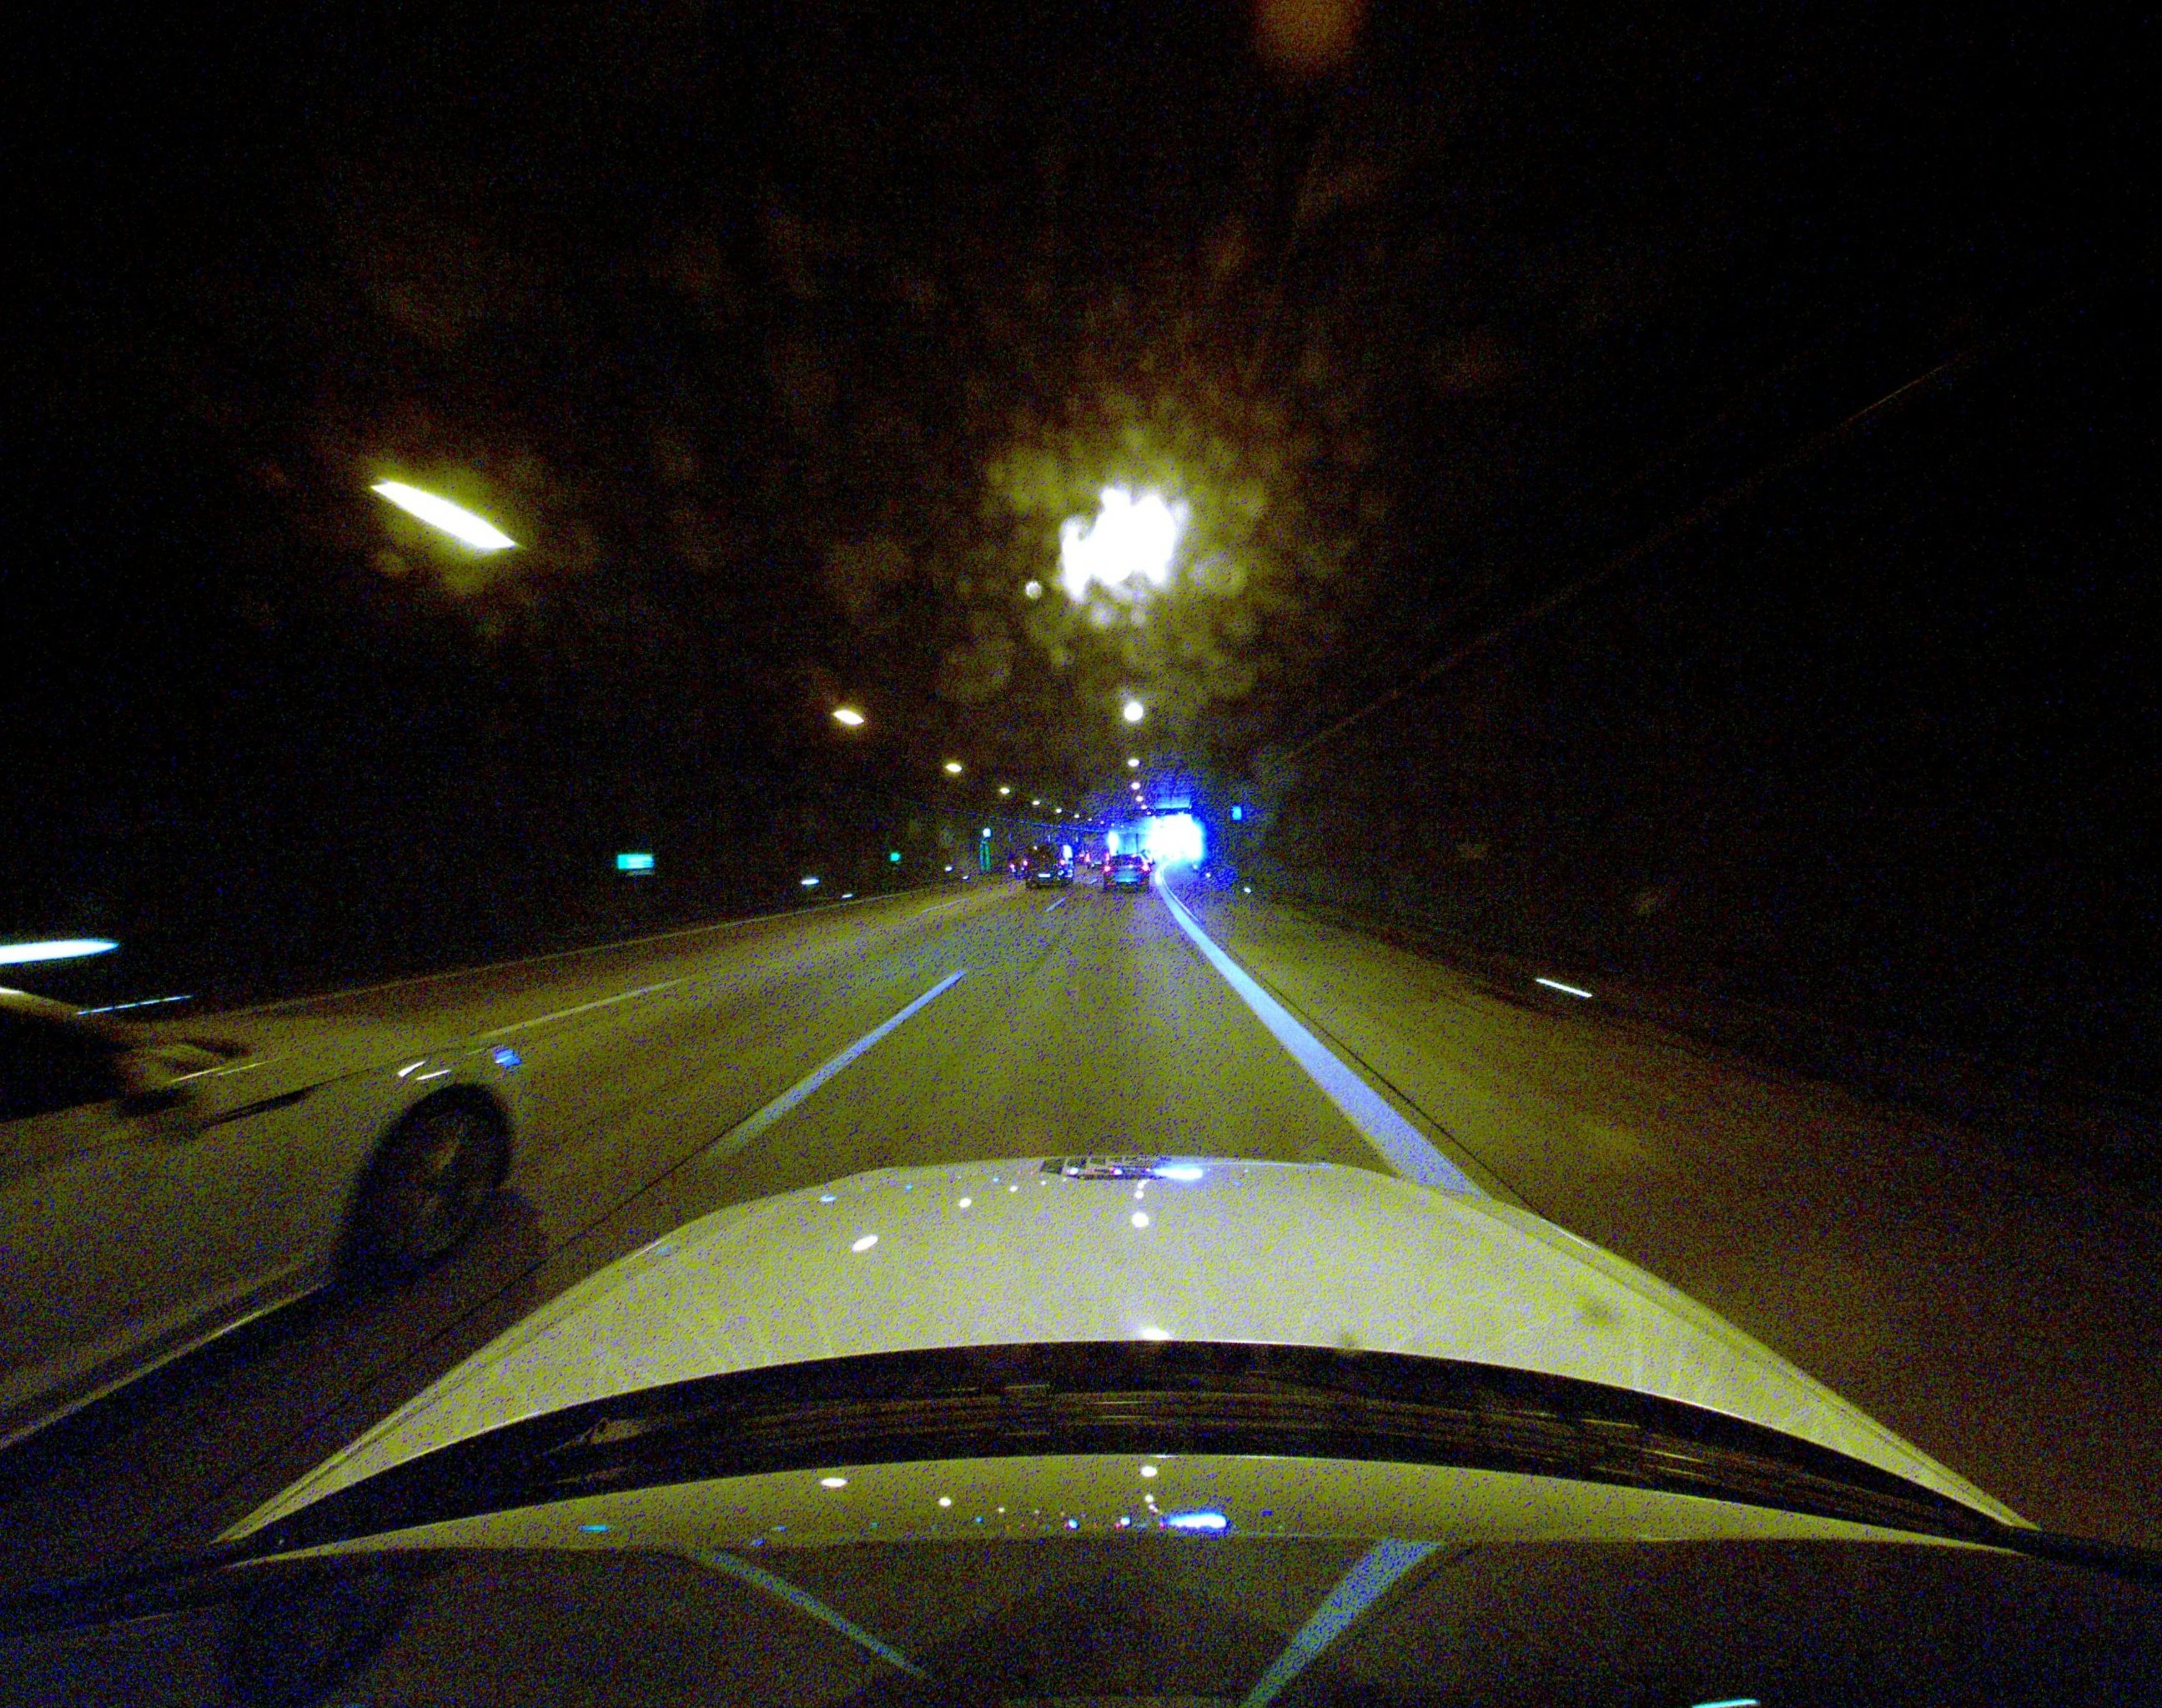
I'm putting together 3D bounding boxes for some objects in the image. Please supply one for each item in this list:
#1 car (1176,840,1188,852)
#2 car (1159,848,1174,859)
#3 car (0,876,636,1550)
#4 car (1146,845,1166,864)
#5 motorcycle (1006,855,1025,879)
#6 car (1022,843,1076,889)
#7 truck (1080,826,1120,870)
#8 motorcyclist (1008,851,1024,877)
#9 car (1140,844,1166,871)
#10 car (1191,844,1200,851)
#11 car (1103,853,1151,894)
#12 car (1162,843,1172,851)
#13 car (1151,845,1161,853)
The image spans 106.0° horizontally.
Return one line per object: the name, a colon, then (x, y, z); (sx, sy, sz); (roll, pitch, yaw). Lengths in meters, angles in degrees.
car: (18.937, -1.469, 152.919); (1.984, 2.014, 4.004); (-2, -2, 4)
car: (13.105, -0.059, 124.927); (1.924, 1.643, 3.999); (-2, -2, 0)
car: (-3.237, 0.840, 1.682); (1.696, 1.419, 5.062); (-2, 0, 2)
car: (7.807, 0.078, 84.220); (1.940, 1.772, 4.006); (-2, -2, 6)
motorcycle: (-3.774, 0.758, 47.266); (0.680, 1.297, 2.401); (-2, -2, 4)
car: (-1.409, 0.505, 37.657); (1.900, 1.944, 3.877); (-2, 0, 5)
truck: (1.811, -0.527, 73.207); (3.025, 3.673, 7.402); (-1, 0, 5)
motorcyclist: (-3.773, 0.588, 47.284); (0.773, 1.453, 1.070); (-2, -2, 5)
car: (5.342, 0.264, 60.334); (1.848, 1.854, 4.006); (-1, 0, 5)
car: (25.950, -1.472, 184.858); (1.918, 1.642, 4.011); (-1, 0, 10)
car: (1.856, 0.717, 32.511); (1.734, 1.464, 3.875); (-2, 0, 4)
car: (20.446, -1.696, 194.300); (1.918, 1.643, 4.013); (-2, -2, 12)
car: (16.291, -1.095, 176.915); (1.919, 1.642, 4.010); (-1, 0, 9)
